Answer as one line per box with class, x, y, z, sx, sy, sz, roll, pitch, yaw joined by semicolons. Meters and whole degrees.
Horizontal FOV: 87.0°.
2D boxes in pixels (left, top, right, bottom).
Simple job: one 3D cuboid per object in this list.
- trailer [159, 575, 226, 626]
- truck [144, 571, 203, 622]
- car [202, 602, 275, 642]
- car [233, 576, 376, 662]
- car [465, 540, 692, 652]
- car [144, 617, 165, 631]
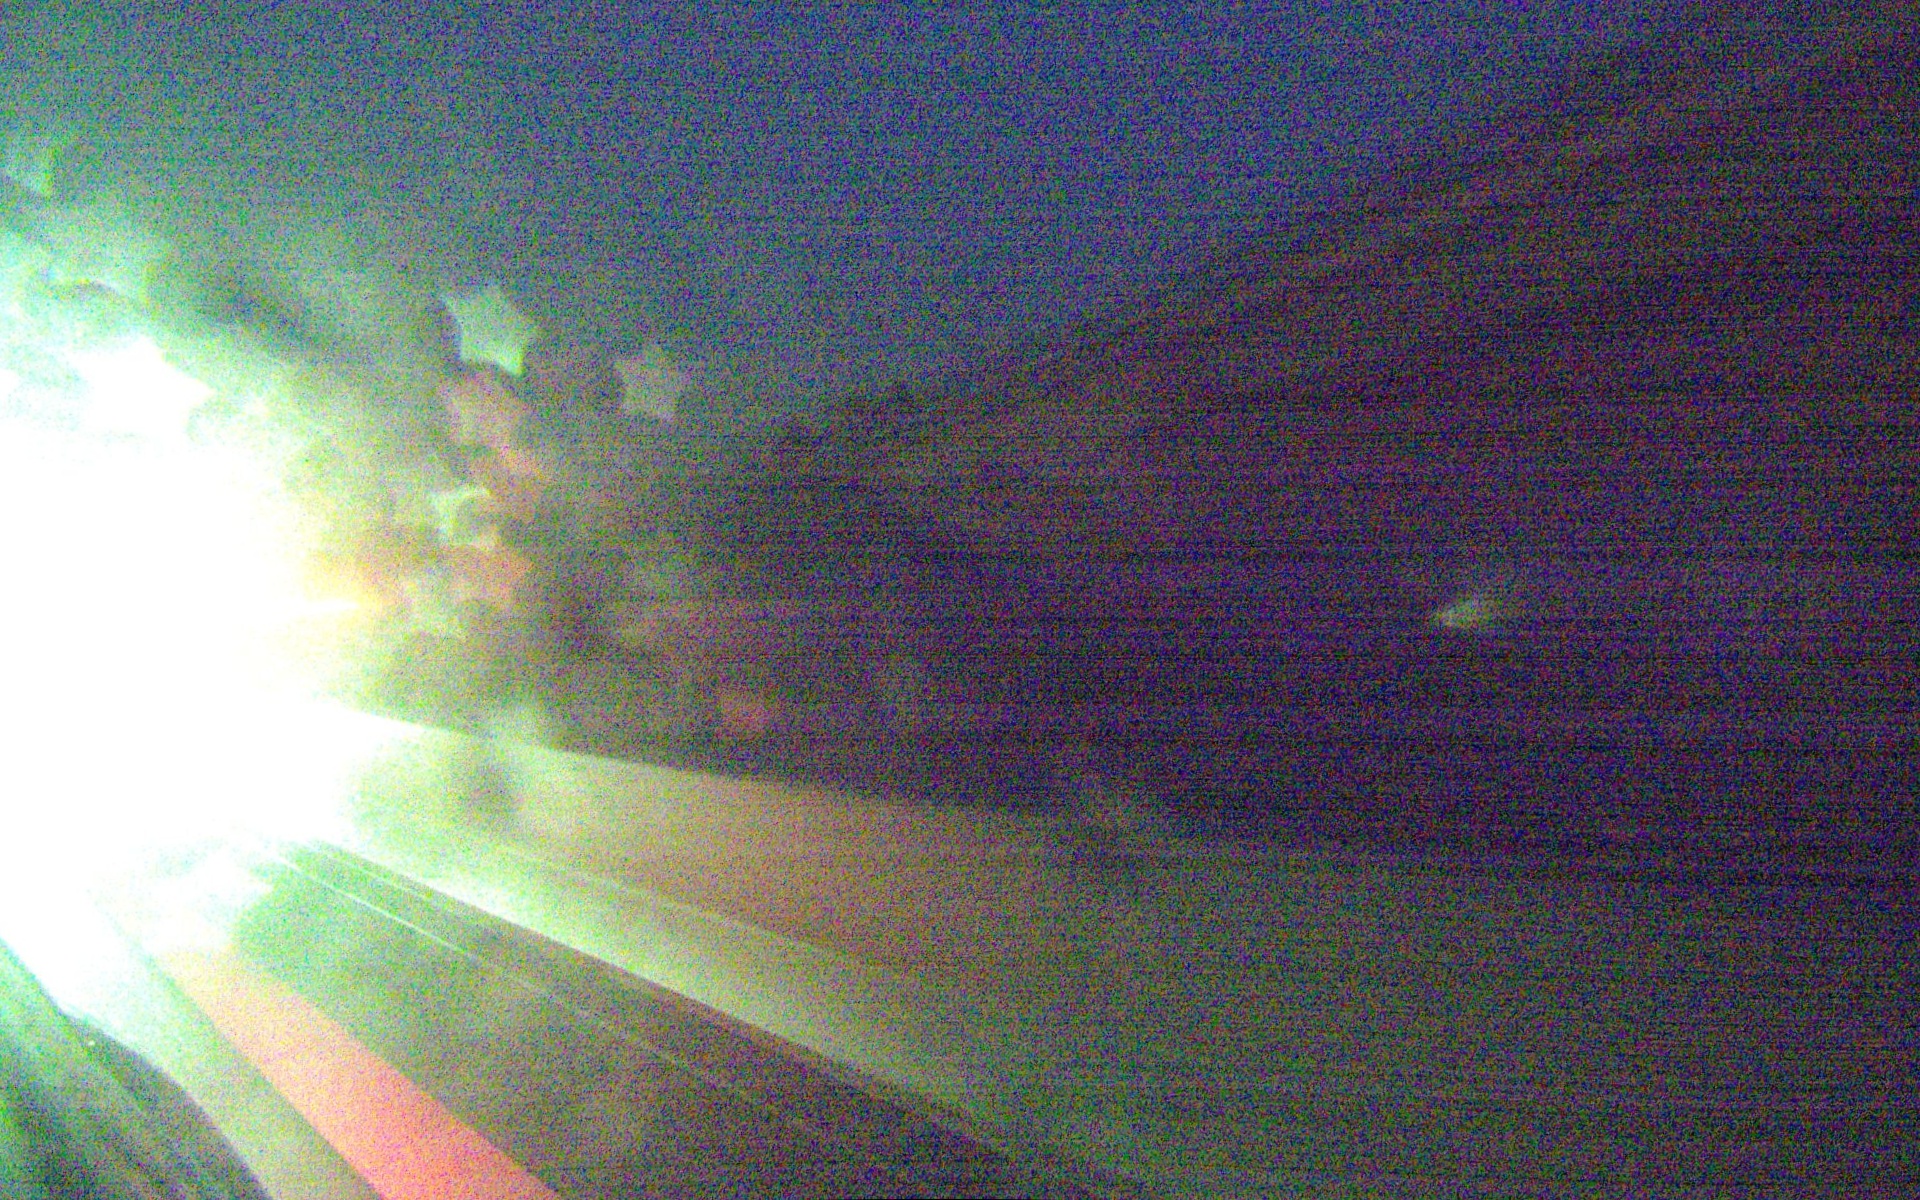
trailer;-65.119;0.082;85.738;9.504;3.776;2.896;-3;3;45
truck;-72.269;-0.258;92.929;2.914;4.066;10.661;-7;3;-44
car;-35.454;1.082;49.700;3.999;1.676;1.973;-3;3;42
car;-18.069;0.559;27.786;5.188;2.028;1.973;-3;3;43
car;-6.725;-0.035;17.666;3.999;1.647;1.973;-3;3;42
car;-117.856;3.537;148.033;1.971;1.696;4.003;-7;3;-43
